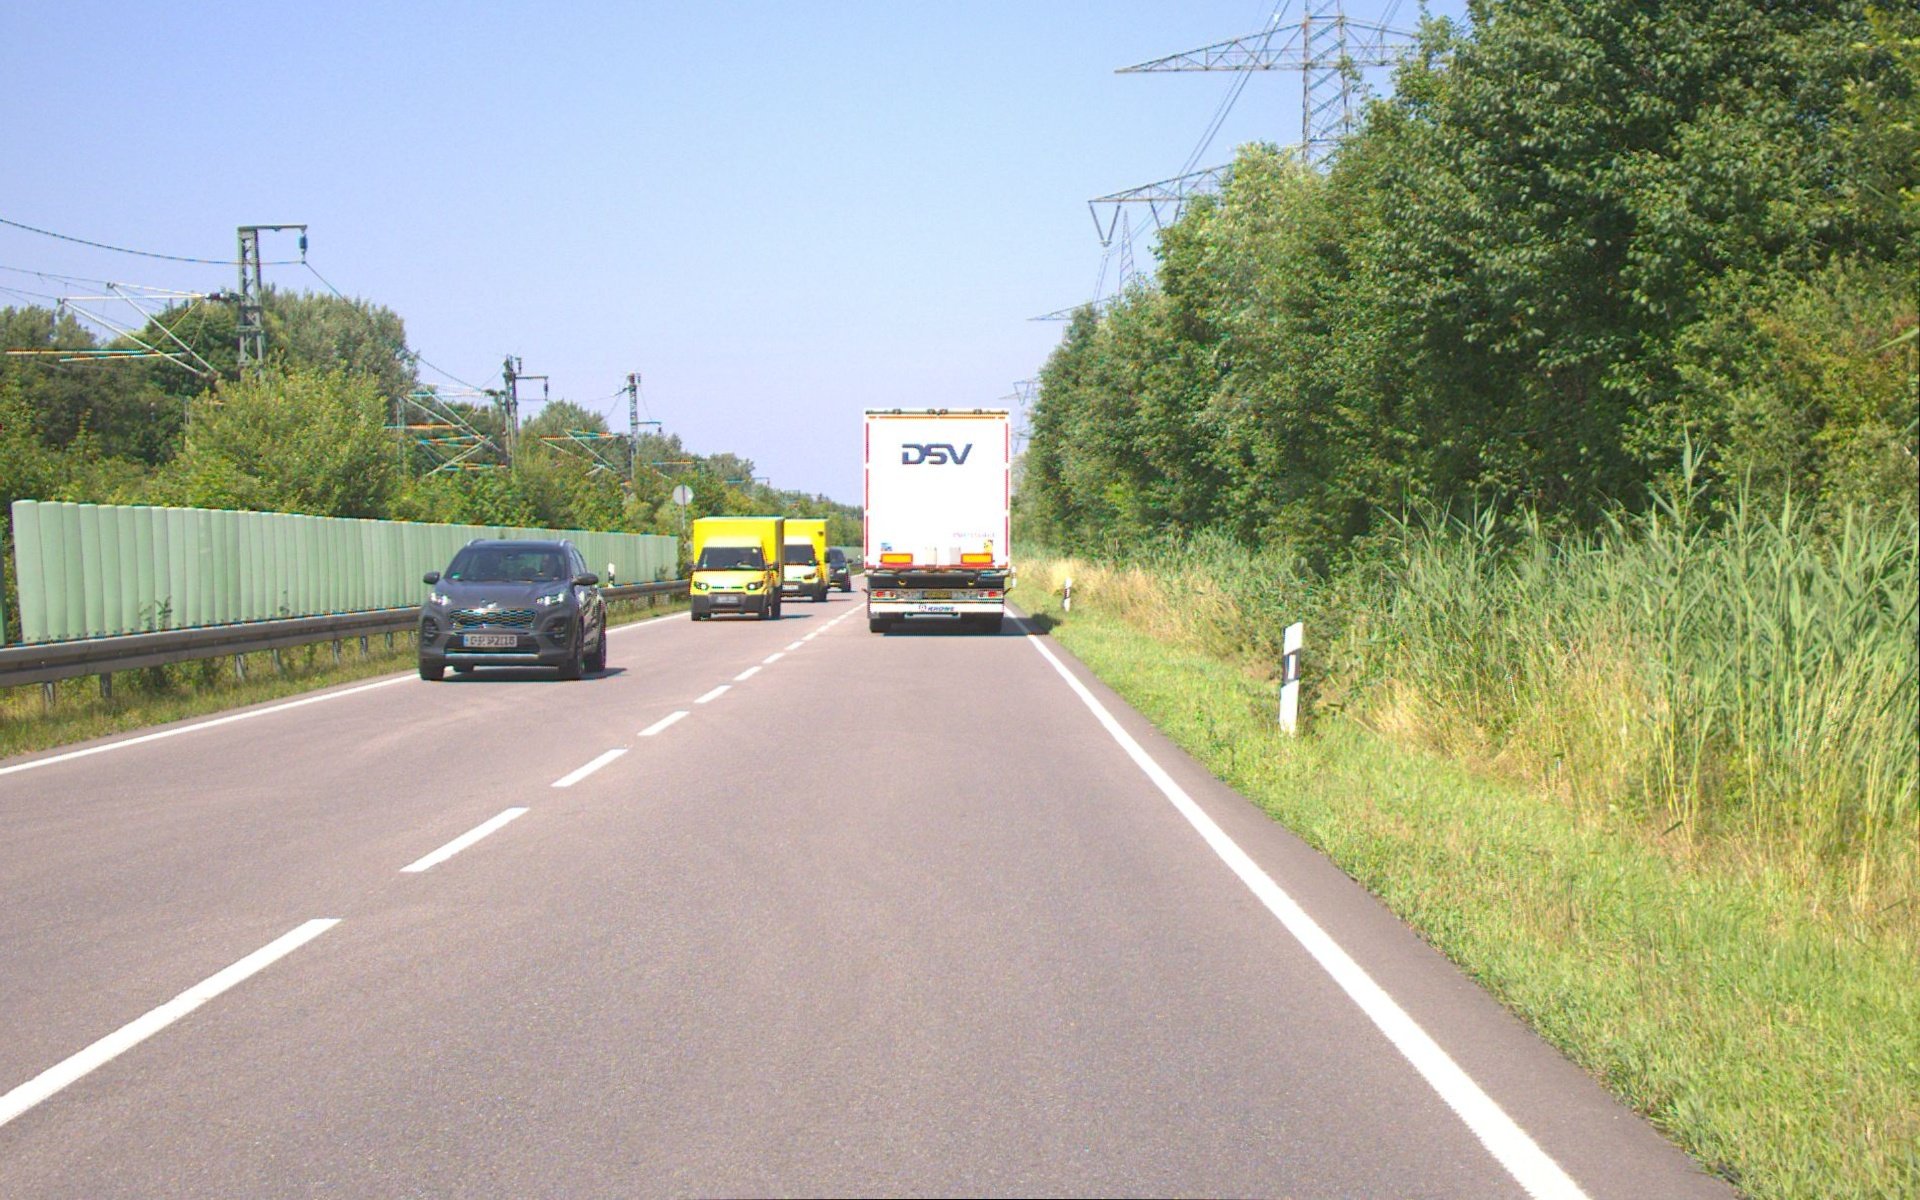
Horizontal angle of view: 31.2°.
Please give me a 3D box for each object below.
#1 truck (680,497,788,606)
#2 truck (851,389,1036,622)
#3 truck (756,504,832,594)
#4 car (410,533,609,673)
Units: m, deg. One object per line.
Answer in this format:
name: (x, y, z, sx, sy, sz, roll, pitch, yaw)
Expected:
truck: (-4.996, -1.094, 76.850, 1.993, 2.340, 6.012, 0, 1, 0)
truck: (-0.344, -1.724, 65.581, 3.192, 4.029, 12.007, 0, 1, -1)
truck: (-5.021, -1.558, 104.338, 2.080, 2.637, 5.705, 0, 1, -1)
car: (-5.343, -0.005, 41.249, 1.801, 1.582, 4.371, 0, 1, 0)
